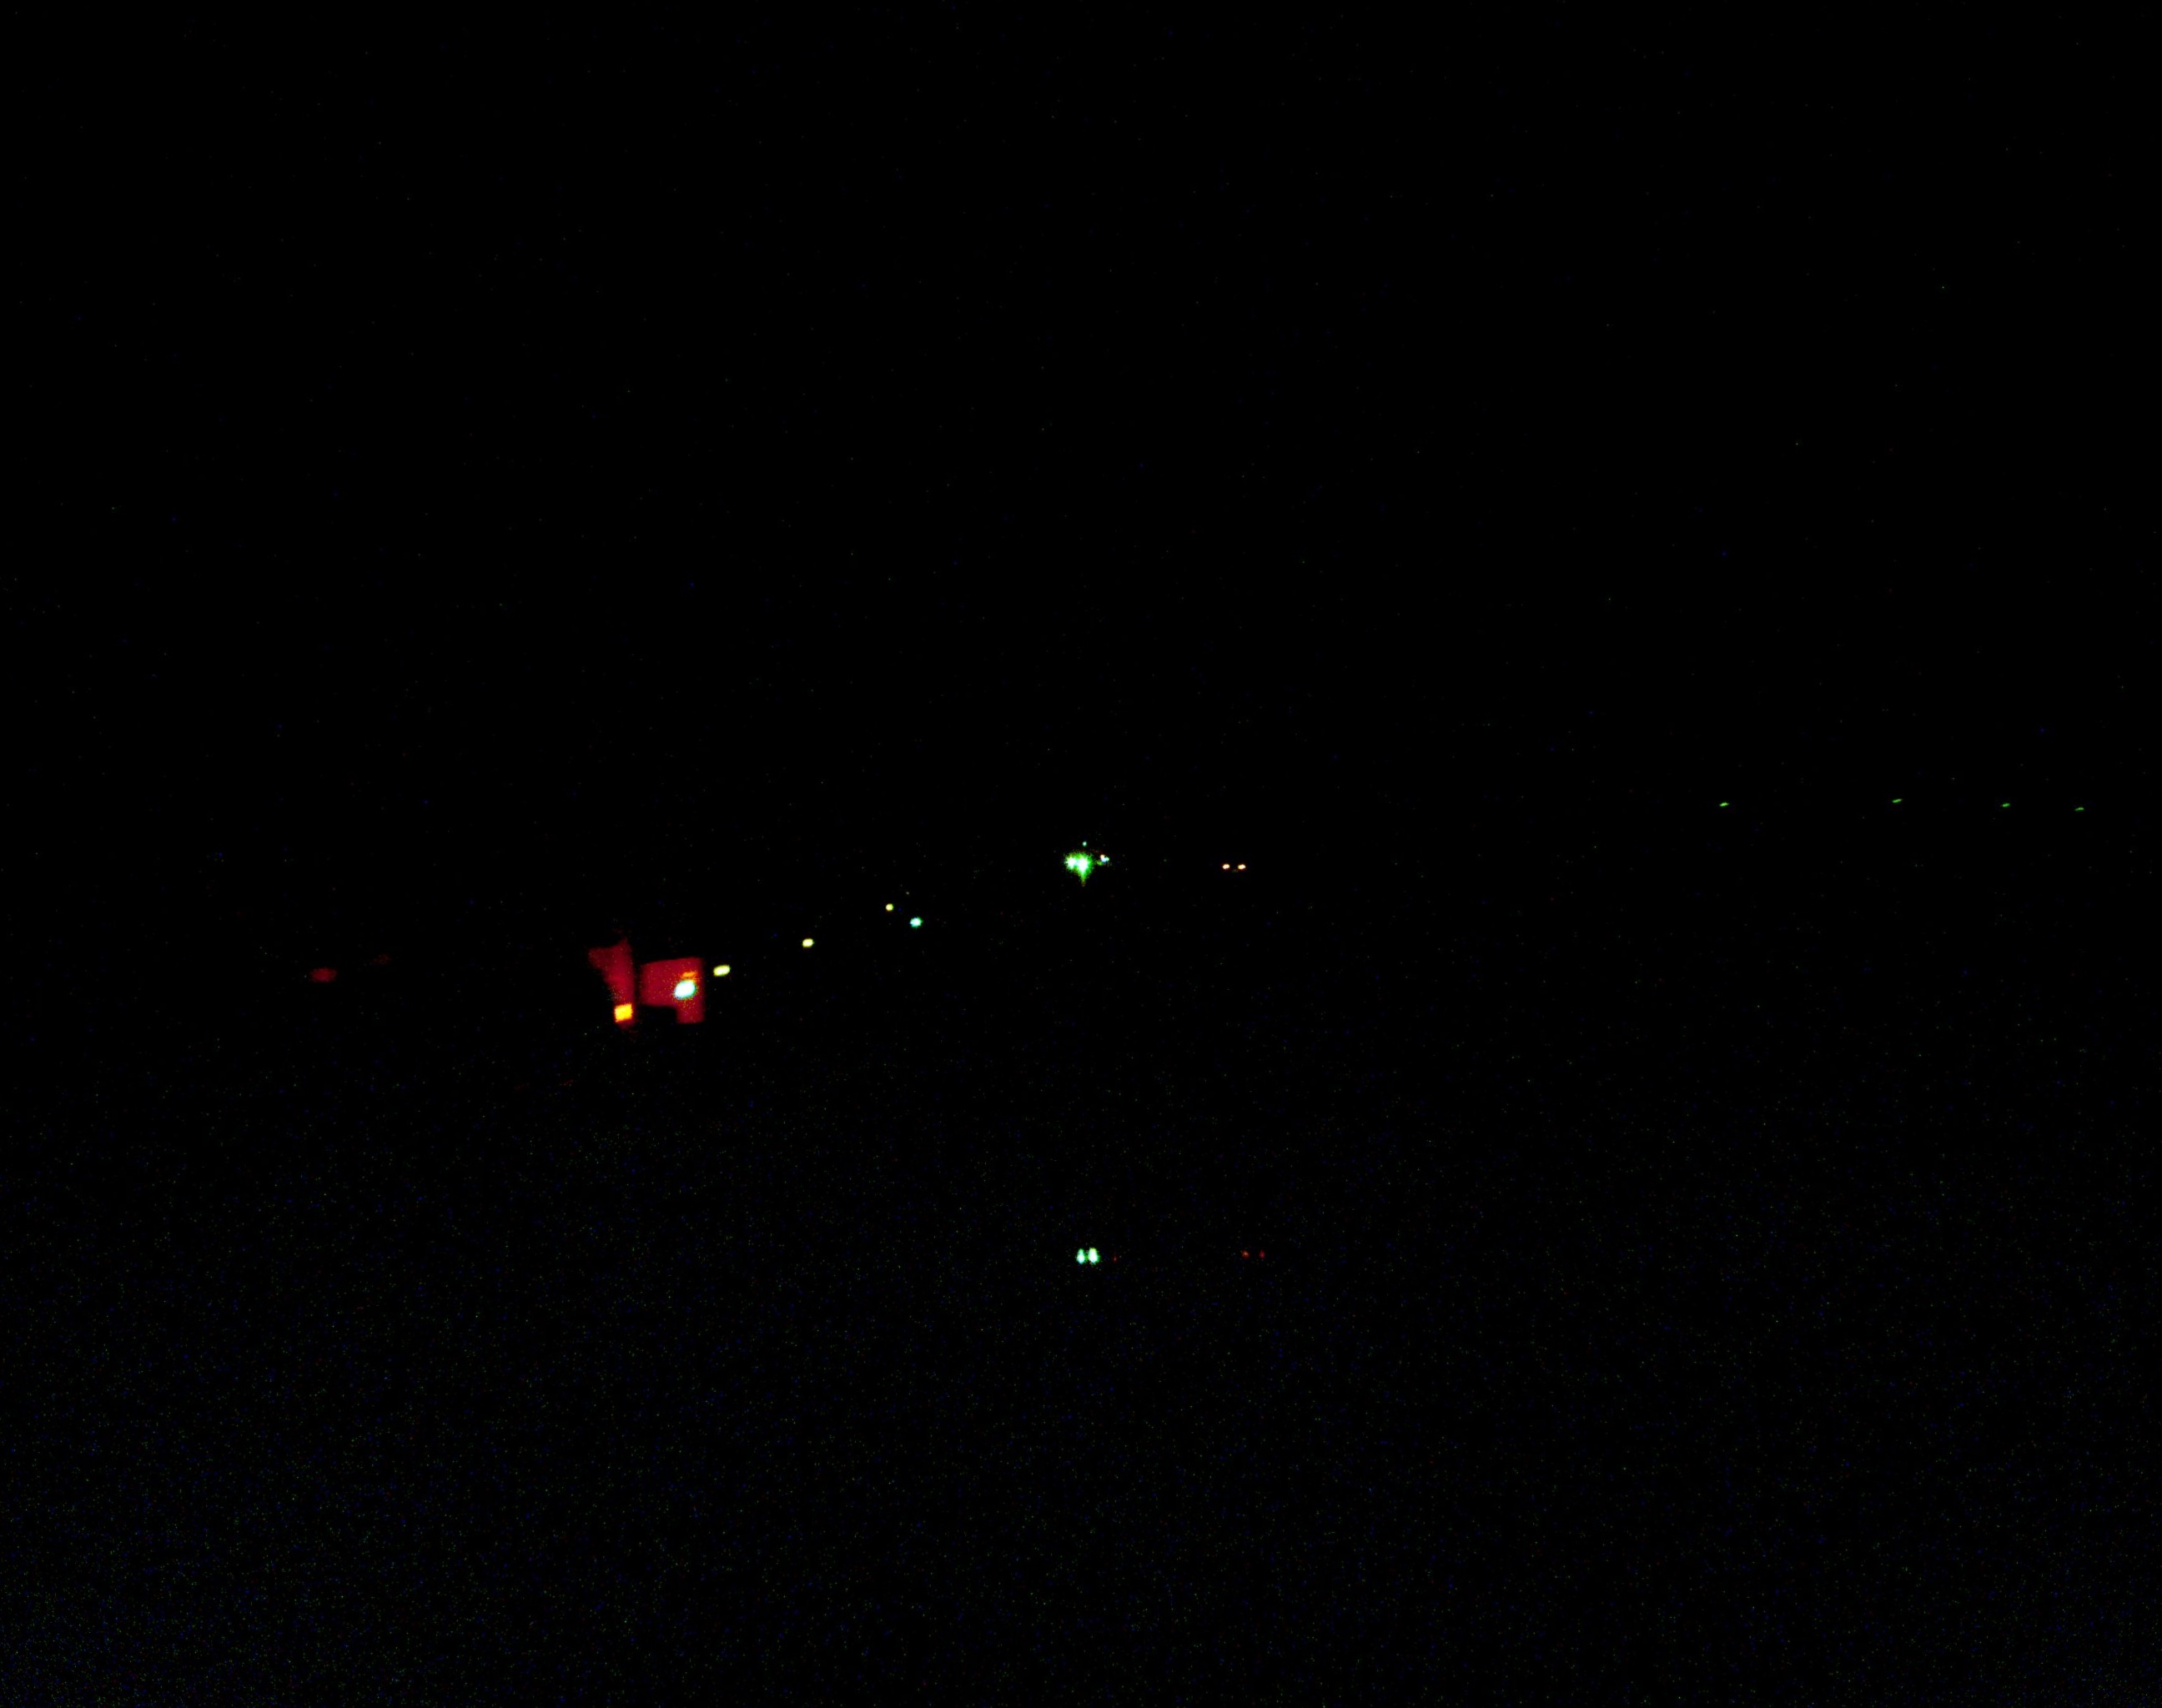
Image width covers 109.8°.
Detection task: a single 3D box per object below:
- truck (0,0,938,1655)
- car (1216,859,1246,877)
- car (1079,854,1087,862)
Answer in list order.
[{"bbox_3d":[-3.692,-0.284,5.239,2.694,4.082,13.141,-2,0,1],"label":"truck"},{"bbox_3d":[12.269,1.116,62.230,1.609,1.322,3.939,1,0,-1],"label":"car"},{"bbox_3d":[0.370,0.772,143.660,1.570,1.336,4.166,-2,0,-1],"label":"car"}]
